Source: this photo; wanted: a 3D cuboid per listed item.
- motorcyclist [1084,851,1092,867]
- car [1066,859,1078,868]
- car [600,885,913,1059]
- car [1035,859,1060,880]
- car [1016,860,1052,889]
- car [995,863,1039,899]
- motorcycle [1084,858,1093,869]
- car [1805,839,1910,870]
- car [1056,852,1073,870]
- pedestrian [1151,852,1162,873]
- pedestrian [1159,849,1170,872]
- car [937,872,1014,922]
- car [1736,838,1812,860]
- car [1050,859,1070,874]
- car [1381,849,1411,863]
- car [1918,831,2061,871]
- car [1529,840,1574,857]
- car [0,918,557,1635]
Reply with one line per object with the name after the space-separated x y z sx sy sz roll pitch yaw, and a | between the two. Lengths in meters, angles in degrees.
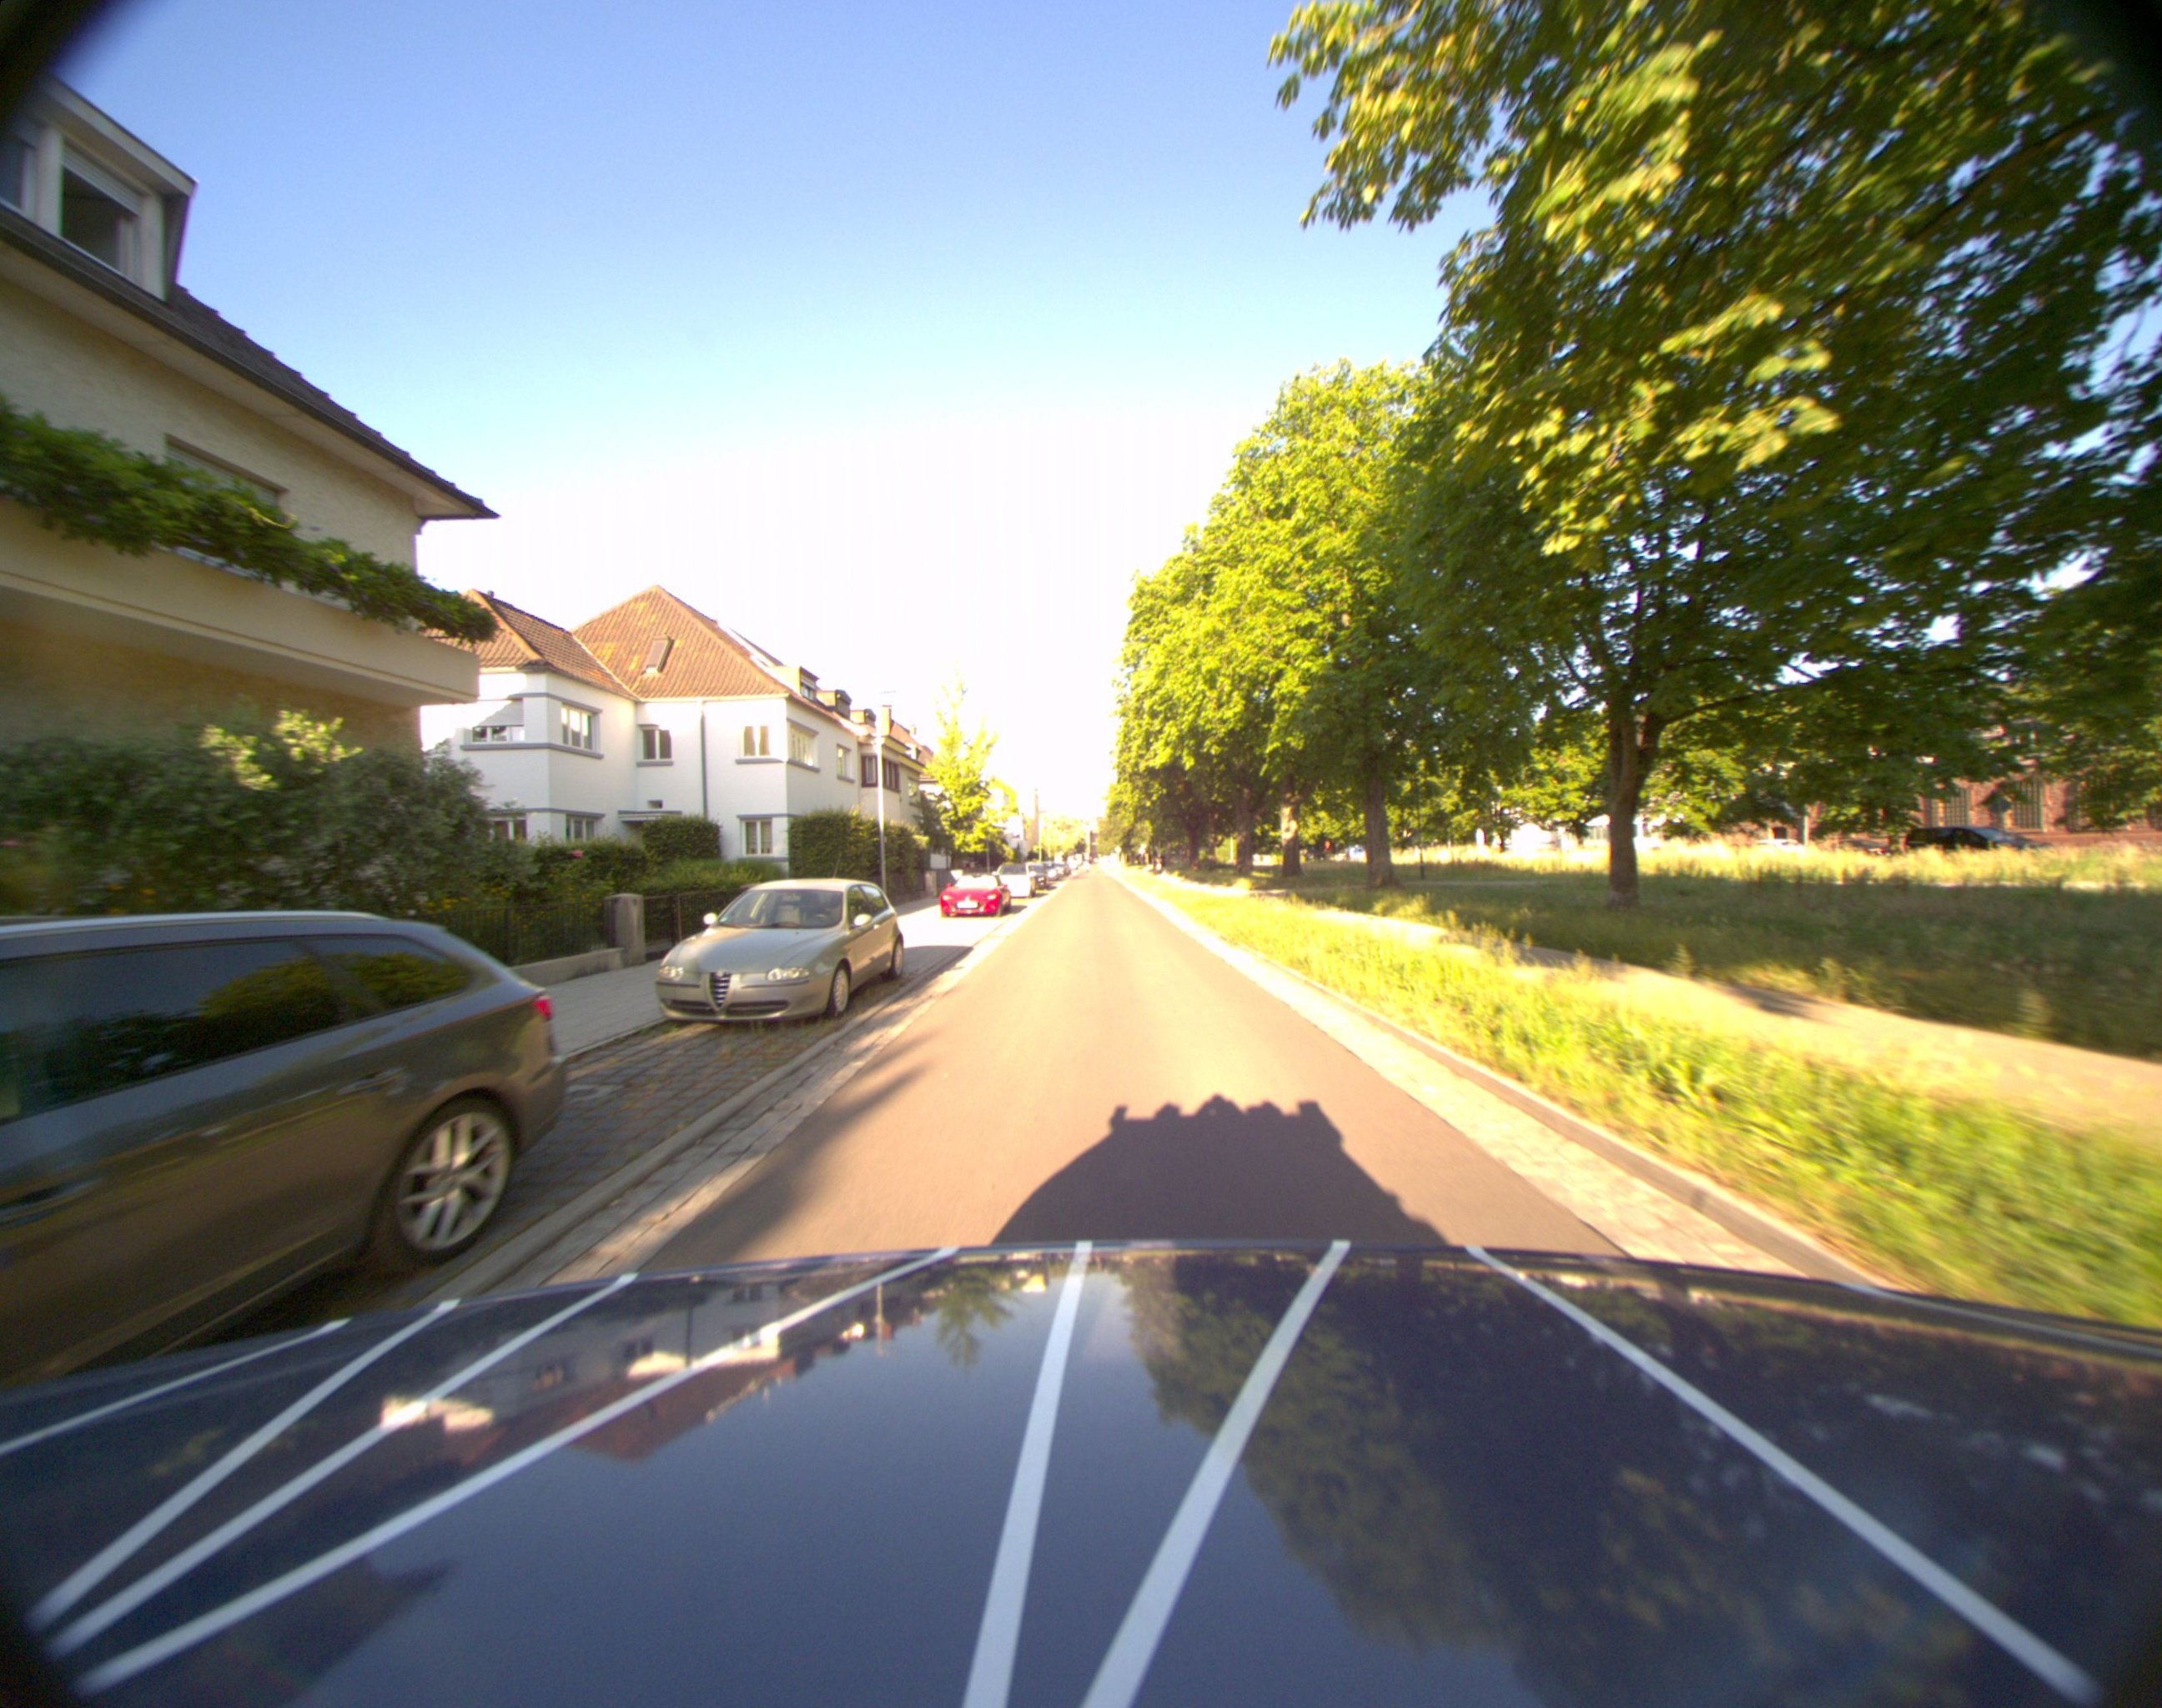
0.958 0.668 100.884 0.961 2.002 1.274 -2 0 0 | motorcyclist
-1.449 1.553 126.801 1.844 1.471 3.764 -2 0 0 | car
-3.326 1.124 8.760 1.798 1.372 4.078 1 0 1 | car
-2.544 1.159 58.827 1.665 1.526 3.833 0 0 2 | car
-2.584 1.111 42.377 1.745 1.471 4.057 -2 0 0 | car
-2.729 1.127 33.020 1.508 1.471 3.493 0 0 1 | car
0.978 1.232 100.781 1.077 1.373 2.463 -2 0 0 | motorcycle
43.162 0.049 42.388 1.766 1.619 4.000 -2 0 1 | car
-2.083 0.875 95.666 1.844 2.196 3.764 -2 0 1 | car
6.097 0.701 61.460 0.625 1.621 0.606 -2 1 27 | pedestrian
6.802 0.567 61.799 0.625 1.840 0.606 -2 1 40 | pedestrian
-3.067 1.230 22.837 1.702 1.250 3.879 0 0 1 | car
43.450 -0.291 47.745 1.585 1.267 3.581 -2 0 2 | car
-2.159 1.290 78.120 1.844 1.471 3.764 -2 0 1 | car
38.612 0.259 93.205 1.873 1.619 4.426 -2 0 1 | car
37.204 -0.119 31.264 1.585 1.473 3.640 -2 0 2 | car
43.297 -0.481 69.959 1.767 1.471 3.795 -2 0 0 | car
-3.384 1.042 1.462 1.798 1.485 4.194 1 0 1 | car
